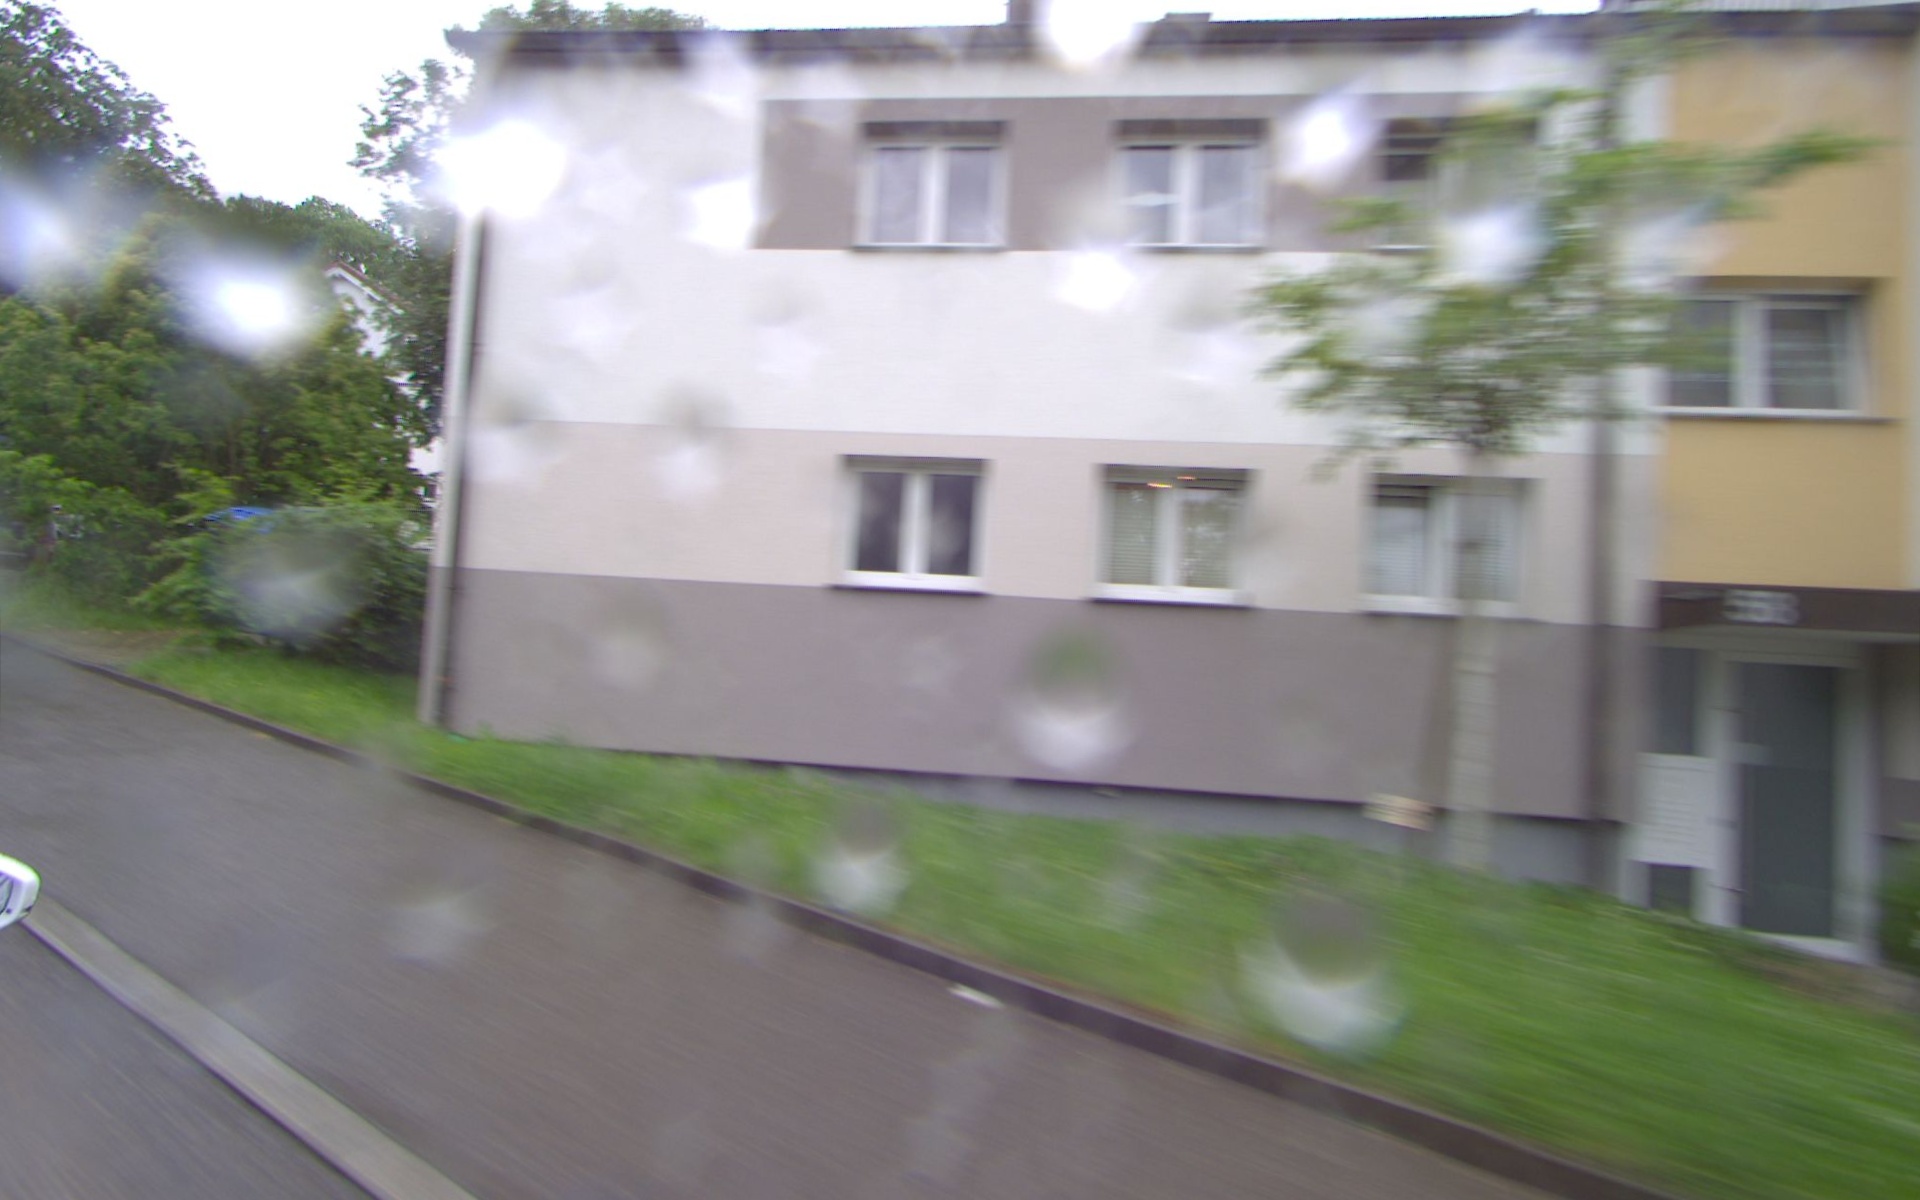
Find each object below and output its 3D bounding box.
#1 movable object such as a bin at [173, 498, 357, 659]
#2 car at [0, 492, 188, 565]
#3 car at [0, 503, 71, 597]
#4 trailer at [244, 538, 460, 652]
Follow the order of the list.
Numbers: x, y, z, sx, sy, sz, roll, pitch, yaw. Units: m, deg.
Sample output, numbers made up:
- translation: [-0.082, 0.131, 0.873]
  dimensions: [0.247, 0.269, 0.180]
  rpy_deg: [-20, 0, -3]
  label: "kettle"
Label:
- translation: [-7.356, -0.201, 10.731]
  dimensions: [0.965, 1.515, 1.244]
  rpy_deg: [6, -1, -2]
  label: "movable object such as a bin"
- translation: [-25.728, -2.072, 29.980]
  dimensions: [1.695, 1.653, 4.281]
  rpy_deg: [4, -1, 8]
  label: "car"
- translation: [-20.632, -1.260, 19.869]
  dimensions: [1.707, 1.733, 4.329]
  rpy_deg: [2, -7, 43]
  label: "car"
- translation: [-12.569, -0.065, 20.933]
  dimensions: [3.220, 1.843, 1.768]
  rpy_deg: [7, -3, 5]
  label: "trailer"
